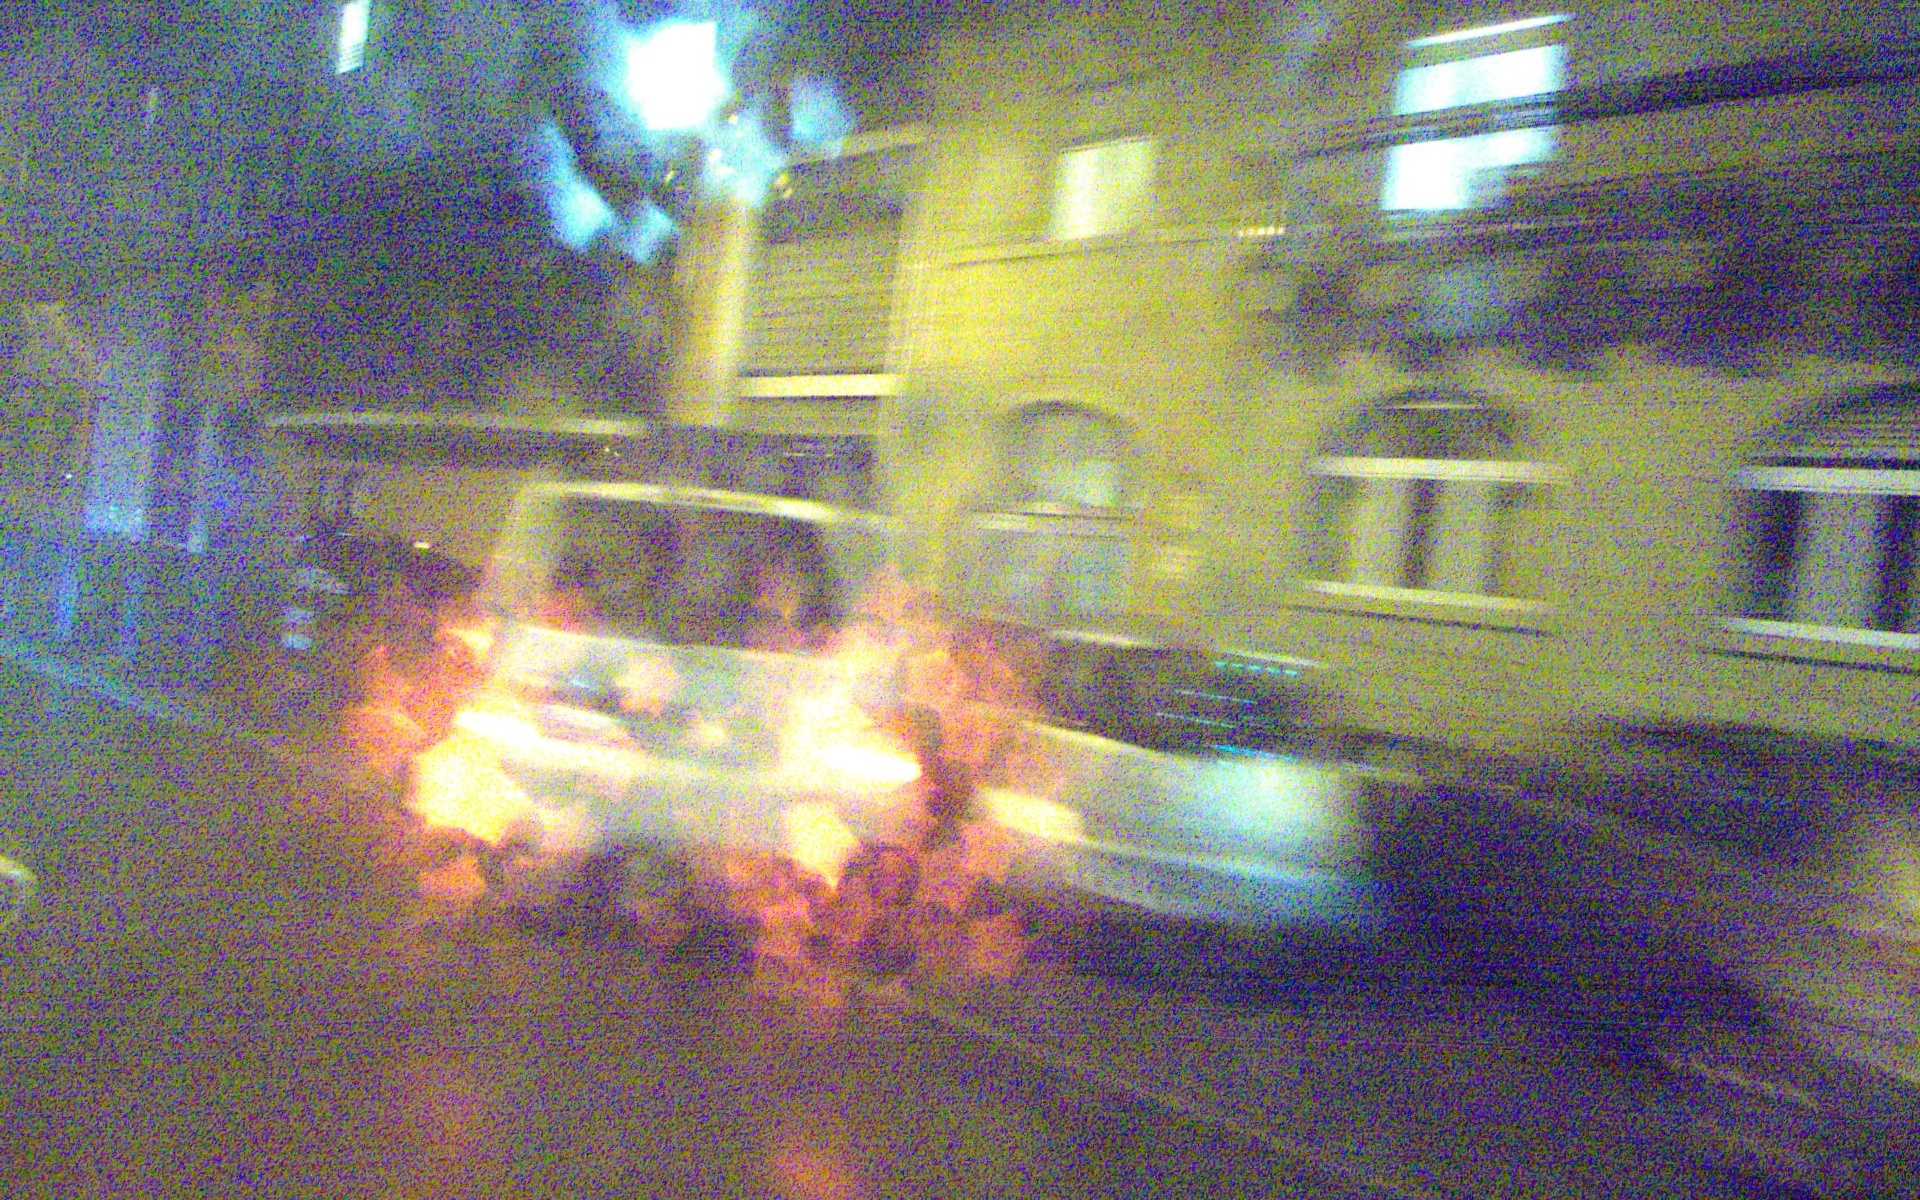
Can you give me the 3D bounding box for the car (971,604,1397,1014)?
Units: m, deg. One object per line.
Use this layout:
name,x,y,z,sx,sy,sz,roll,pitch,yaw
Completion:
car,1.026,0.876,5.913,1.599,1.487,3.453,6,1,4

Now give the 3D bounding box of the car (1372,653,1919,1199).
car,3.296,1.163,4.175,1.583,1.487,3.728,6,1,2

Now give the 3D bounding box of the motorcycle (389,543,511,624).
motorcycle,-8.290,-0.275,16.339,2.021,1.080,0.524,7,-1,25

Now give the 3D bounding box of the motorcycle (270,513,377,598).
motorcycle,-11.877,-0.834,18.751,2.088,1.334,0.524,7,-1,26

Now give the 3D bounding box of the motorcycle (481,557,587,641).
motorcycle,-6.527,-0.029,15.401,1.597,1.080,0.524,7,-1,30

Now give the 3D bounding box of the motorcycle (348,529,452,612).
motorcycle,-9.897,-0.540,17.762,2.090,1.222,0.523,7,-1,32

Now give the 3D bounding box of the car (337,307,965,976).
car,-1.277,0.216,6.434,2.191,2.369,4.941,7,-1,-2
